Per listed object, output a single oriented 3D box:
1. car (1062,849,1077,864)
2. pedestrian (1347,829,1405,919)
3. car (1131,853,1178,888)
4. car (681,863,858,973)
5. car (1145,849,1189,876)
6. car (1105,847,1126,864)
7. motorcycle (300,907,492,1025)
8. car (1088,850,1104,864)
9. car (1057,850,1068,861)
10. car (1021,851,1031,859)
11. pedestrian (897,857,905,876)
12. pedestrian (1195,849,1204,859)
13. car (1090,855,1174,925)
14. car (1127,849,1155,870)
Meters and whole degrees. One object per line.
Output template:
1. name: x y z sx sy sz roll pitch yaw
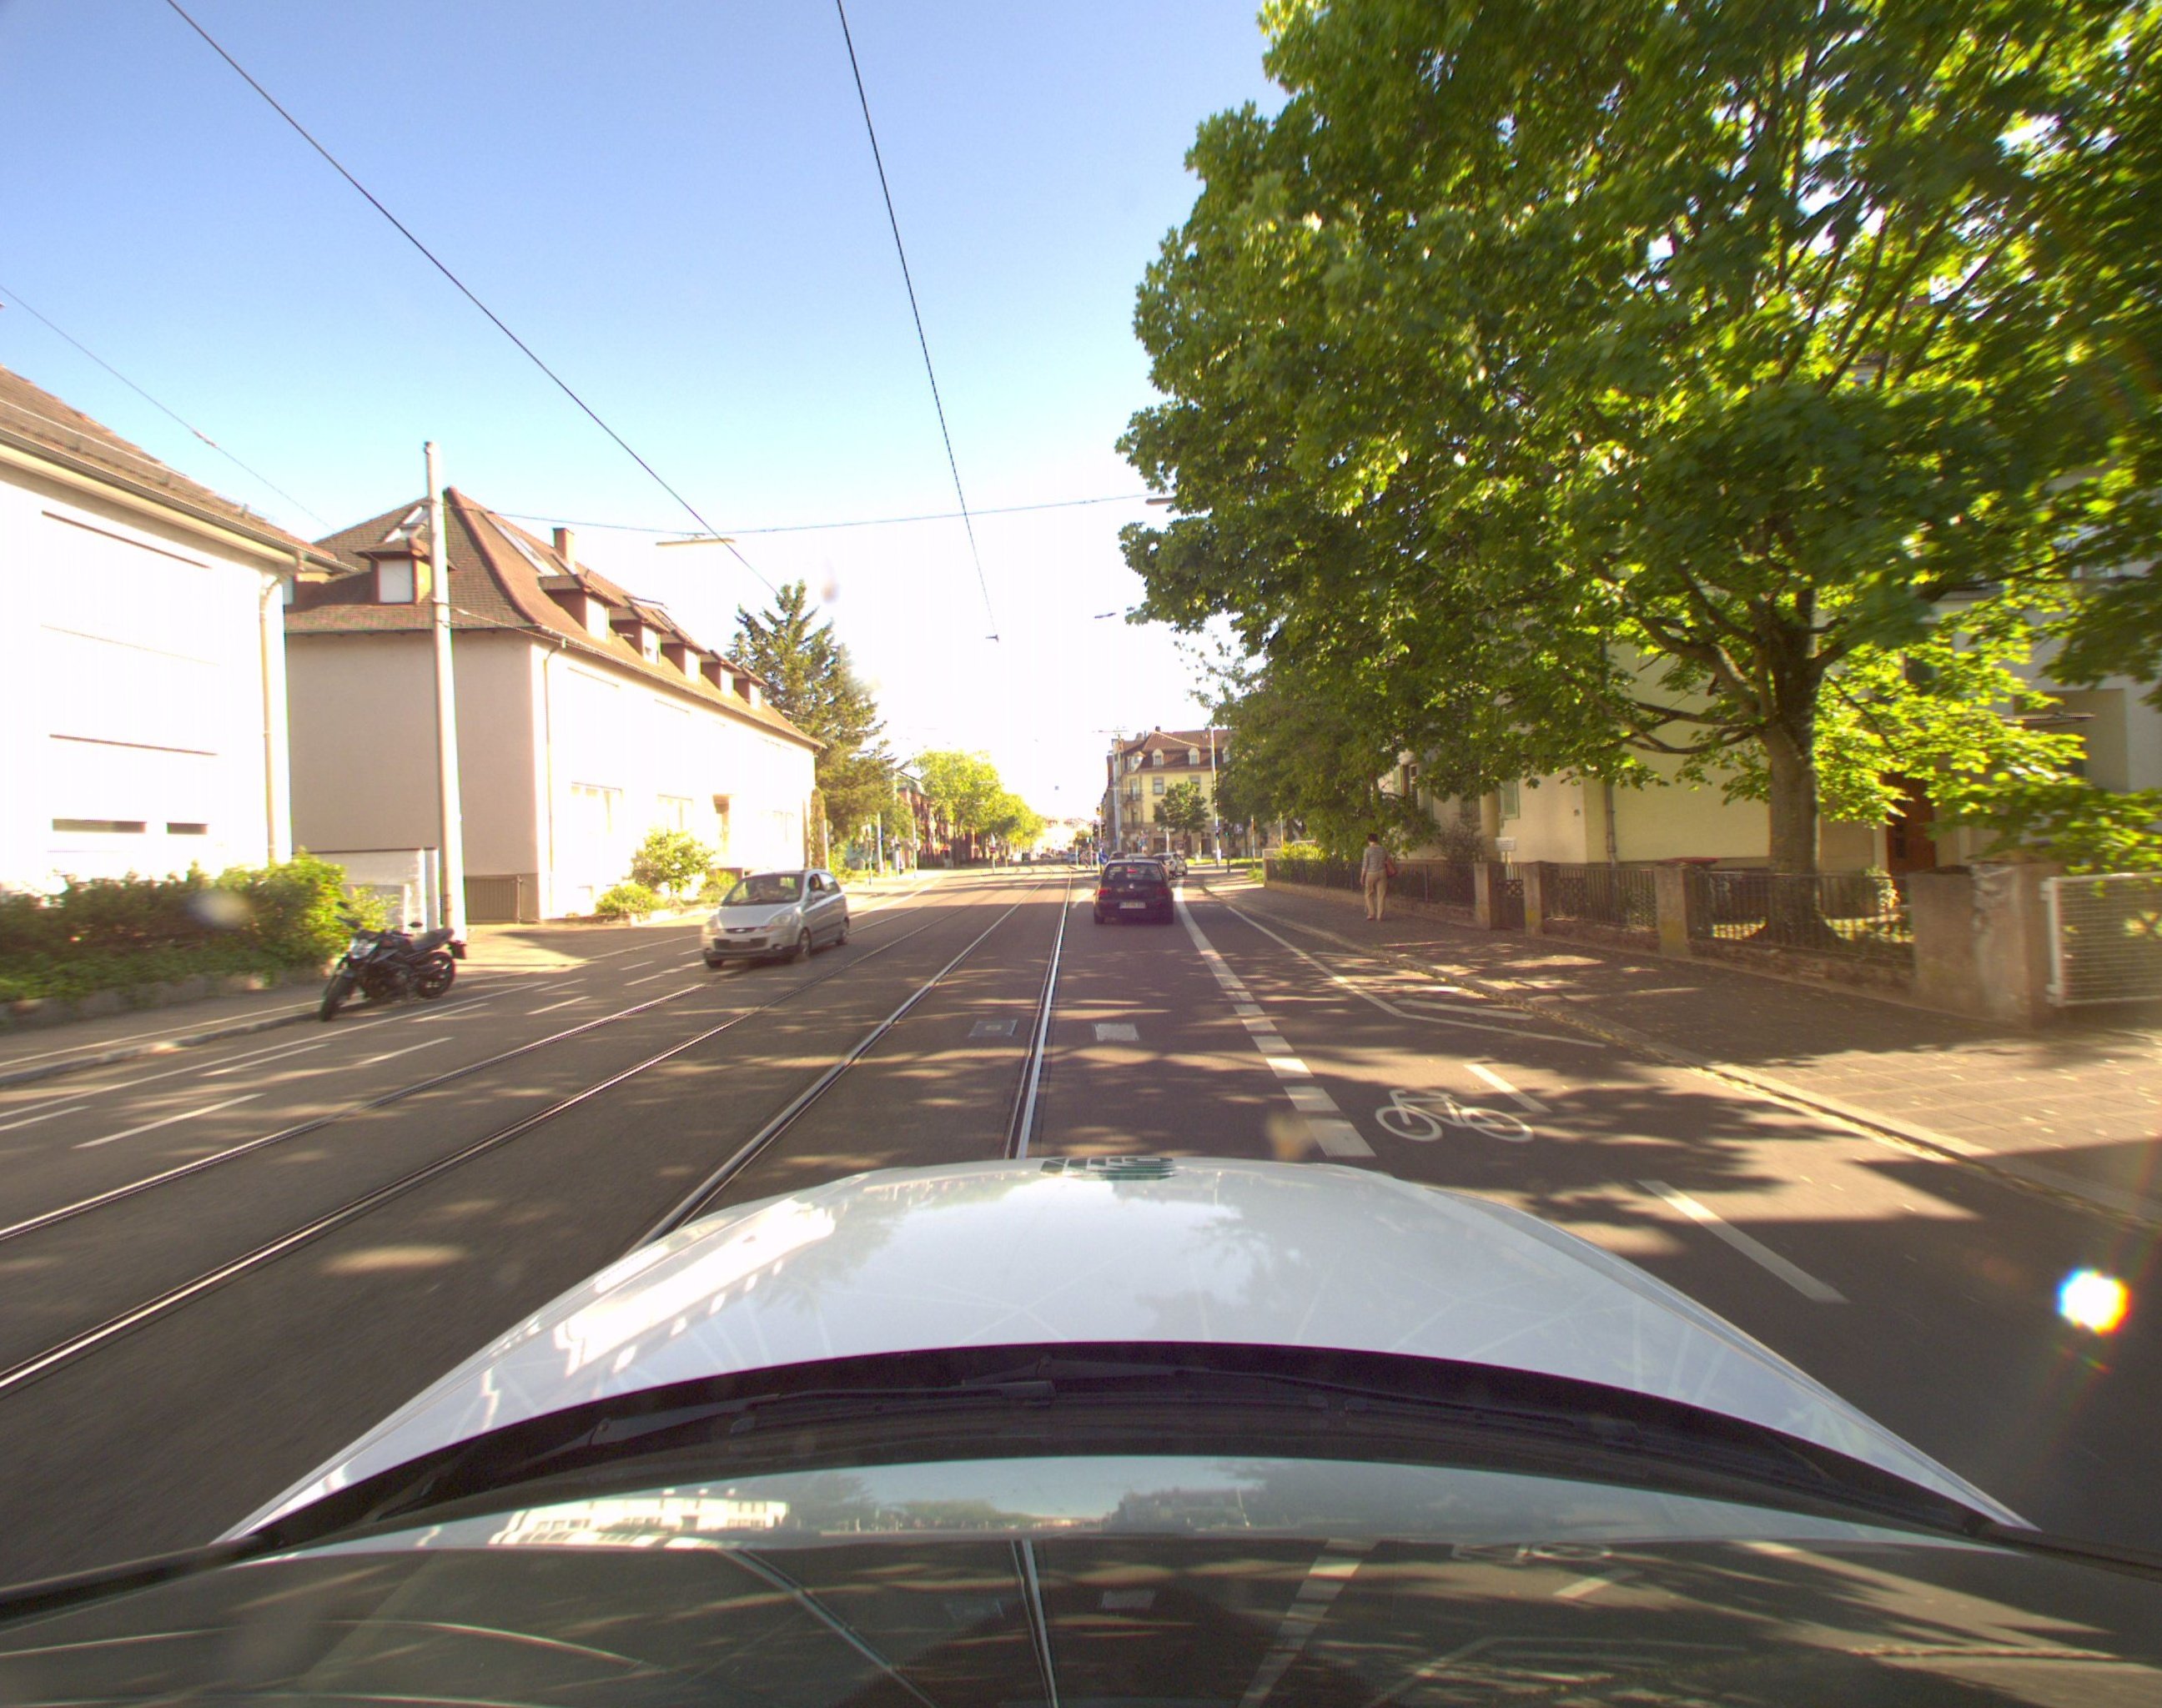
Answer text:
1. car: -1.508 0.299 103.613 1.782 1.859 3.997 -2 0 -2
2. pedestrian: 5.769 0.378 15.984 0.716 1.688 0.870 -3 0 -2
3. car: 3.106 0.666 34.955 1.629 1.372 3.757 -2 0 0
4. car: -5.000 0.950 13.568 1.570 1.477 3.440 -3 0 0
5. car: 5.174 0.494 48.521 1.725 1.441 3.828 -2 0 19
6. car: 3.148 0.157 75.504 1.566 1.311 3.495 -2 -2 -3
7. motorcycle: -8.567 1.343 10.336 0.534 1.162 2.171 -4 0 0
8. car: 1.760 0.342 95.285 1.677 1.453 3.376 -2 0 -2
9. car: -3.386 0.282 147.450 1.782 1.859 3.997 -2 0 -2
10. car: -12.483 0.220 184.716 1.968 1.815 4.289 -2 0 -5
11. pedestrian: -16.138 1.096 73.154 0.611 1.689 0.729 1 0 -19
12. pedestrian: 14.812 -0.013 101.934 0.977 1.187 0.743 -2 0 -1
13. car: 1.241 0.737 18.598 1.707 1.402 4.012 -1 0 6
14. car: 4.348 0.378 59.313 1.566 1.311 3.644 -2 2 -3
